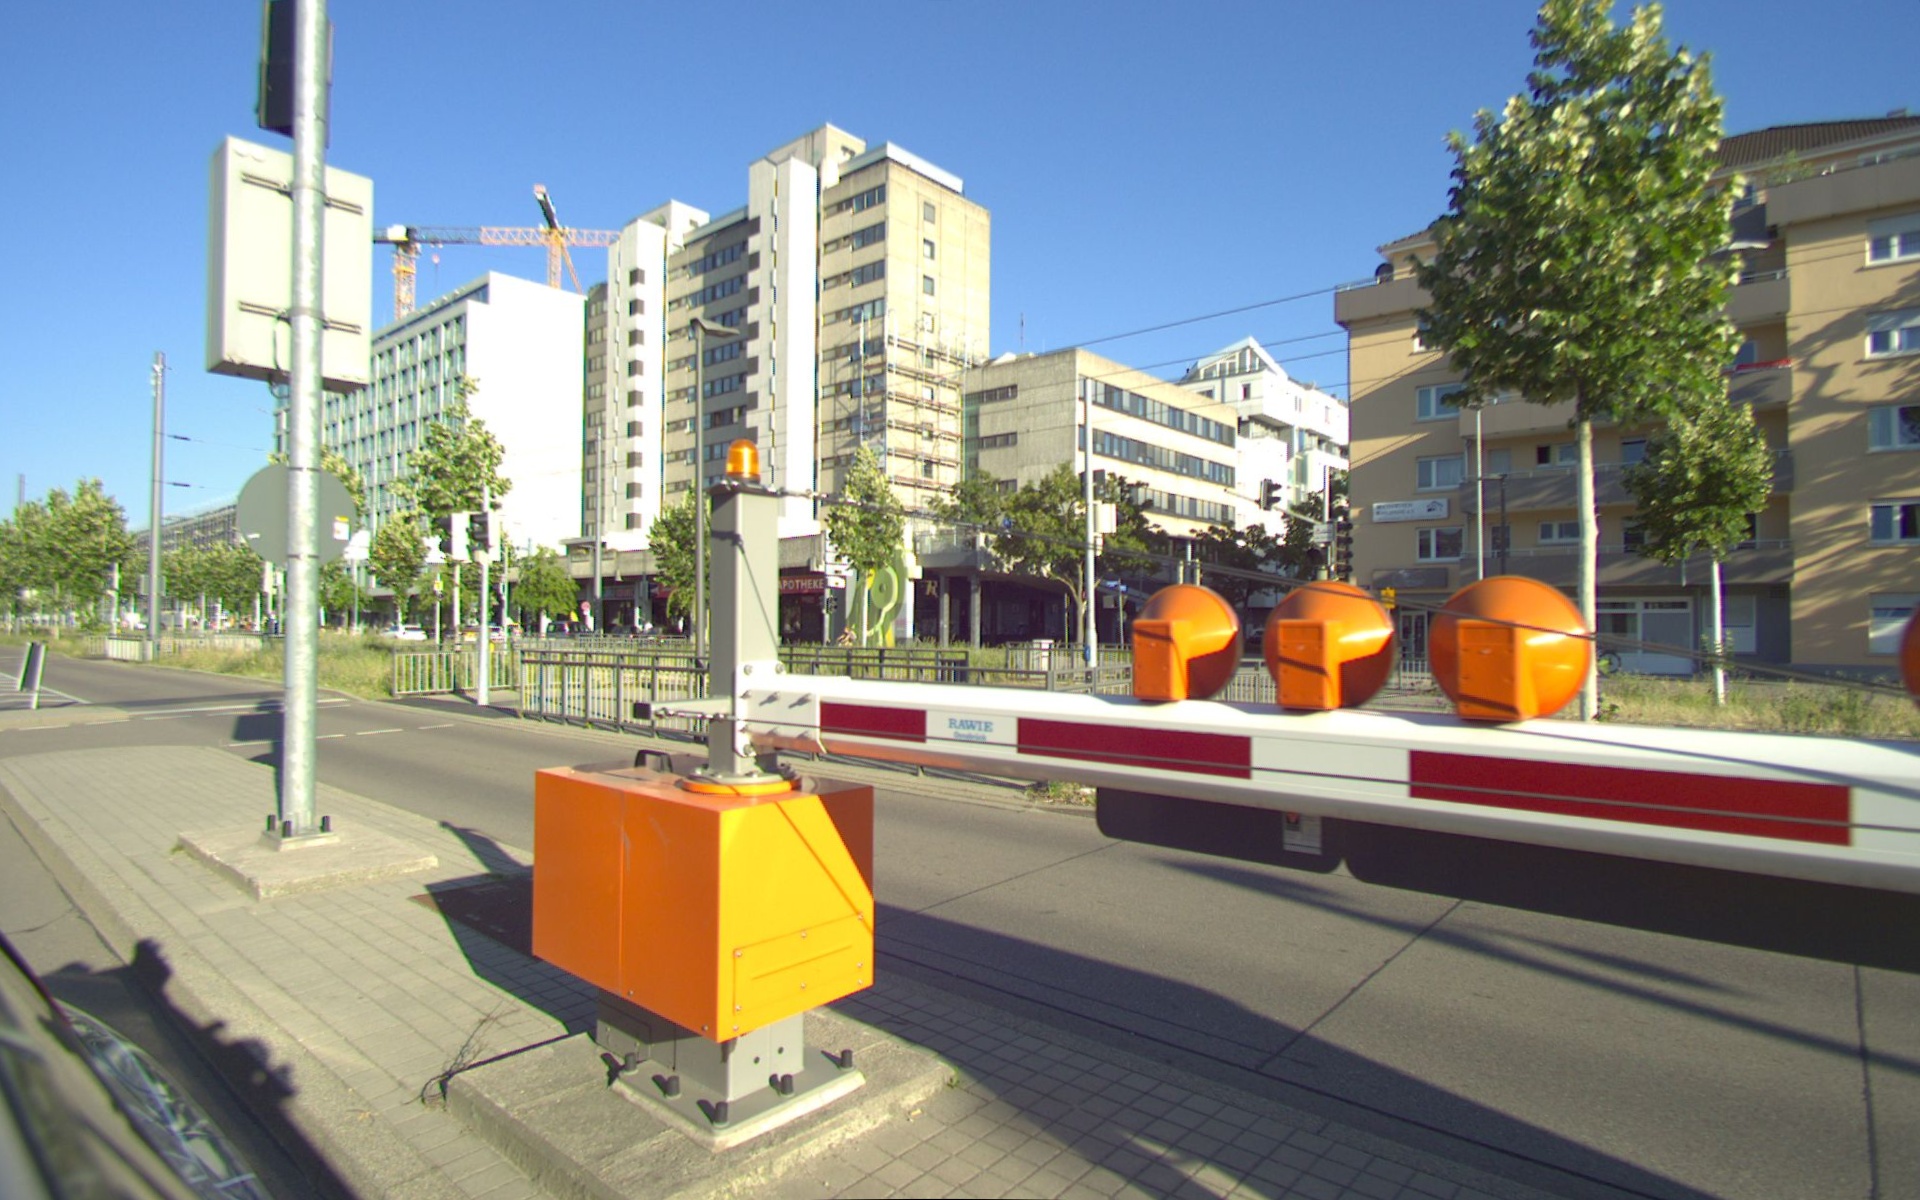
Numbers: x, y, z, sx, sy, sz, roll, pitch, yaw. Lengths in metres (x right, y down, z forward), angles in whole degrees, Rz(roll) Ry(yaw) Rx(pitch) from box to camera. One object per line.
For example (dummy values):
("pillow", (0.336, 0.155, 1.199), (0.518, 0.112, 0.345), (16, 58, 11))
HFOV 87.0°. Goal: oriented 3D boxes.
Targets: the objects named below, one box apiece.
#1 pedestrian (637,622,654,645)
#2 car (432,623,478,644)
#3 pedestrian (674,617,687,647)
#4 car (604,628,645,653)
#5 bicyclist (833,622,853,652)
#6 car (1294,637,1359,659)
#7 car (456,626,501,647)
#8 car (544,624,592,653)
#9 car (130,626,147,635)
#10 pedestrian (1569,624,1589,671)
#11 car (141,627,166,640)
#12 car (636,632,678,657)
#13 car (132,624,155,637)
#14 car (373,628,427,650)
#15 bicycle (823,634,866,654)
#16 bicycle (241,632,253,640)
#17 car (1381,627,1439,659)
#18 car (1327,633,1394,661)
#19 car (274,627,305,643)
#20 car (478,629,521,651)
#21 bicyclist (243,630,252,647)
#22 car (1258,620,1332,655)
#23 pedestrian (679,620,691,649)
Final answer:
("pedestrian", (-22.135, 2.347, 71.205), (0.882, 1.652, 0.766), (-1, -2, 40))
("car", (-39.410, 2.594, 79.143), (1.597, 1.455, 4.551), (-1, 0, -4))
("pedestrian", (-19.406, 2.219, 70.259), (0.654, 2.029, 0.542), (-1, -2, 41))
("car", (-21.339, 2.563, 64.527), (1.597, 1.412, 3.468), (-1, 0, -3))
("bicyclist", (-5.564, 1.769, 48.072), (0.710, 1.405, 0.732), (0, -1, 17))
("car", (26.937, 3.495, 74.430), (3.999, 1.524, 1.972), (-1, -2, 43))
("car", (-36.483, 2.745, 76.758), (1.763, 1.455, 3.805), (-1, 0, -4))
("car", (-26.516, 2.575, 68.499), (1.599, 1.703, 4.196), (-1, 0, 0))
("car", (-135.400, 5.070, 166.775), (3.878, 1.388, 1.592), (-1, 0, 42))
("pedestrian", (21.086, 1.618, 34.462), (0.520, 1.567, 0.442), (-1, -2, 40))
("car", (-107.793, 4.401, 135.267), (4.637, 1.600, 1.850), (-1, 0, 42))
("car", (-17.852, 2.628, 59.756), (1.597, 1.283, 3.468), (-1, 0, -3))
("car", (-117.148, 4.398, 145.128), (4.487, 1.715, 1.850), (-1, 0, 42))
("car", (-39.080, 2.701, 70.616), (4.659, 1.474, 1.758), (-1, -2, 40))
("bicycle", (-5.512, 2.087, 48.114), (2.014, 0.898, 0.504), (0, -1, 18))
("bicycle", (-75.424, 3.817, 107.066), (2.101, 0.869, 0.432), (-1, -2, 40))
("car", (25.944, 2.428, 58.294), (1.999, 1.756, 3.945), (-1, -2, 41))
("car", (20.550, 2.373, 51.843), (1.999, 1.313, 3.945), (-1, -2, 41))
("car", (-69.054, 3.585, 104.205), (3.388, 1.477, 1.850), (-1, 0, 42))
("car", (-34.139, 2.966, 75.069), (1.597, 1.455, 3.795), (-1, 0, -2))
("bicyclist", (-75.360, 4.028, 107.007), (0.918, 1.758, 0.551), (-1, -2, 40))
("car", (15.197, 1.691, 45.858), (1.846, 1.508, 3.946), (-1, -2, 40))
("pedestrian", (-19.561, 2.443, 71.863), (0.654, 2.029, 0.542), (-1, -2, 41))
